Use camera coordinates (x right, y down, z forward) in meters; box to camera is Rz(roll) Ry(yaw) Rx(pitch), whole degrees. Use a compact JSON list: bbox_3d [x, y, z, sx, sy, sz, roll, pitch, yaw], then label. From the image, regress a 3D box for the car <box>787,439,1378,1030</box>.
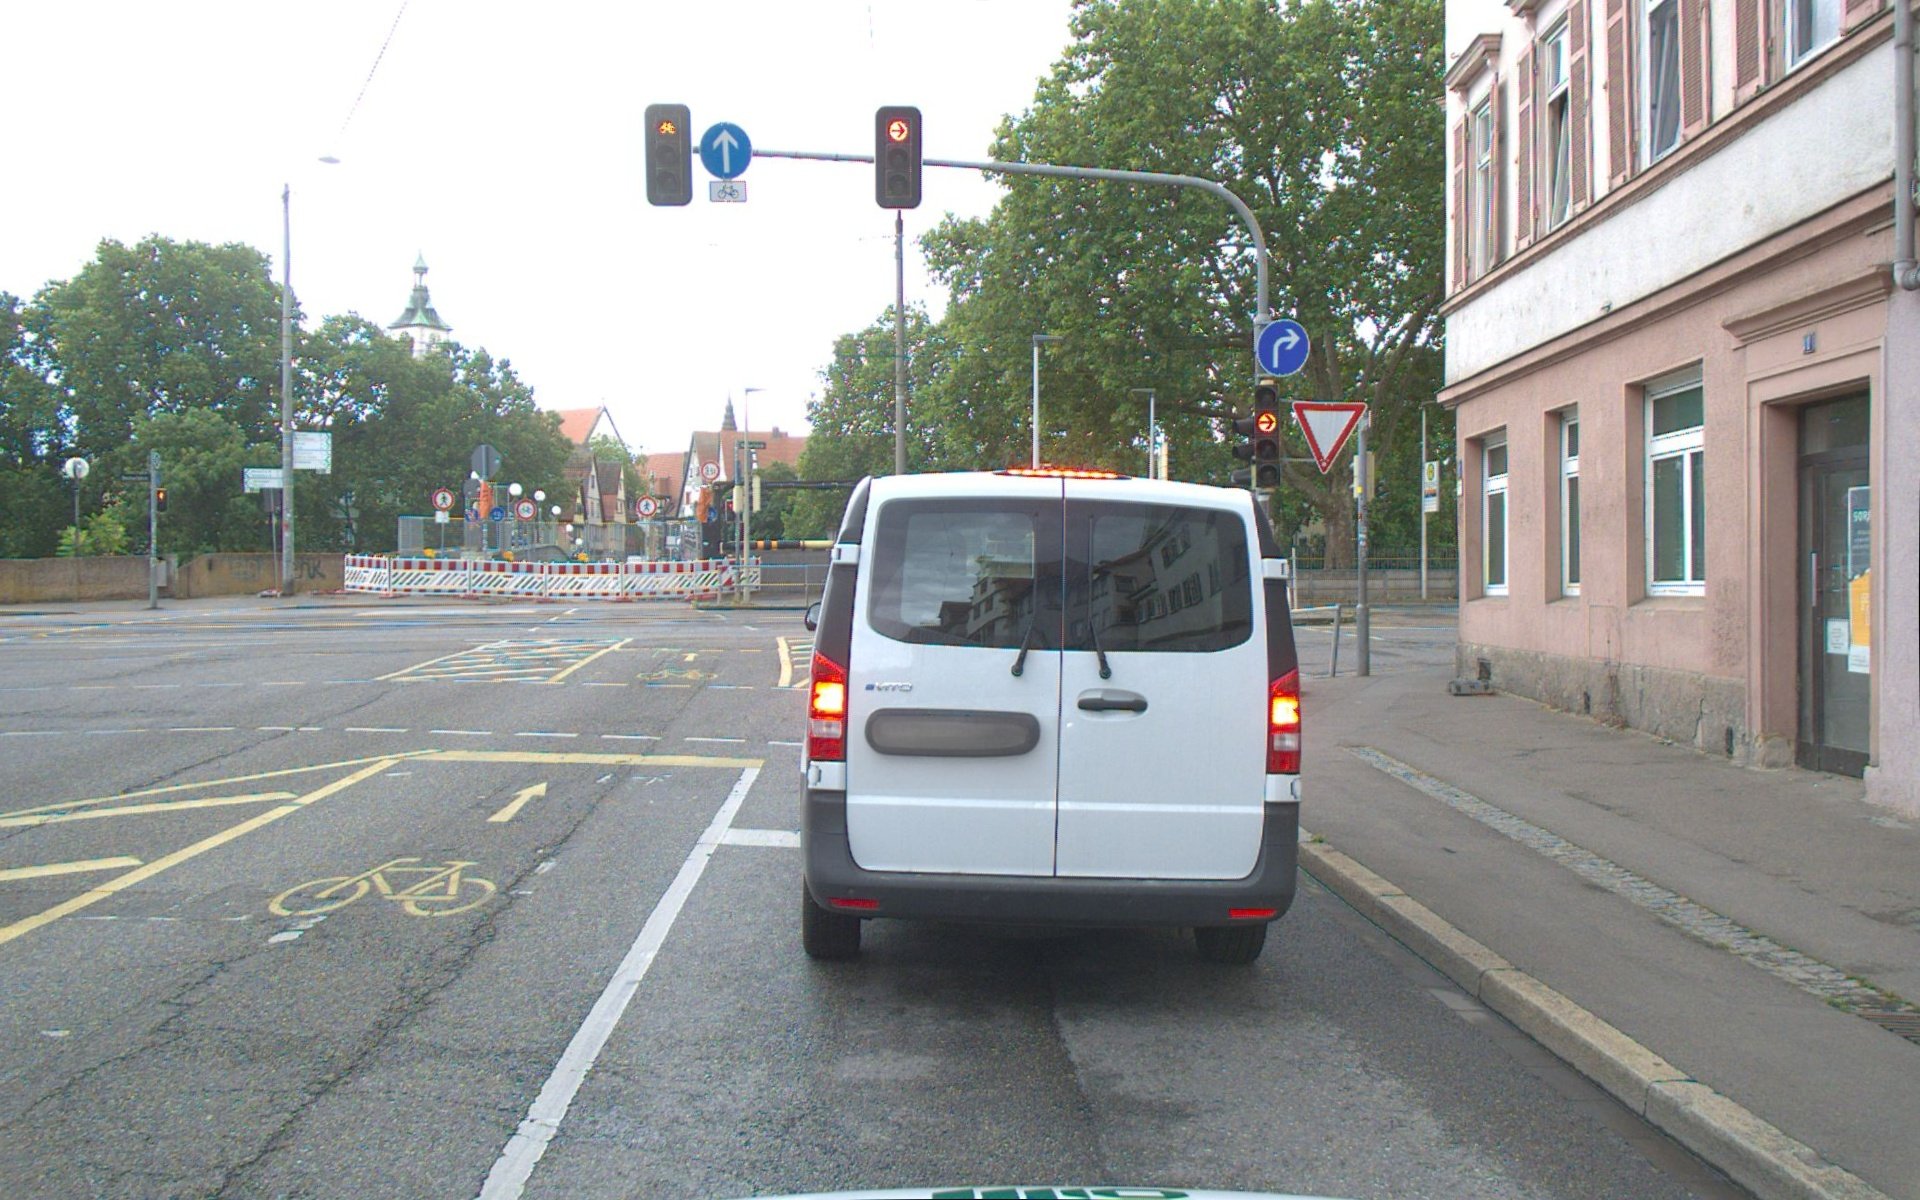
[{"bbox_3d":[0.310,0.382,7.633,1.954,1.956,4.247,1,2,-3],"label":"car"}]
